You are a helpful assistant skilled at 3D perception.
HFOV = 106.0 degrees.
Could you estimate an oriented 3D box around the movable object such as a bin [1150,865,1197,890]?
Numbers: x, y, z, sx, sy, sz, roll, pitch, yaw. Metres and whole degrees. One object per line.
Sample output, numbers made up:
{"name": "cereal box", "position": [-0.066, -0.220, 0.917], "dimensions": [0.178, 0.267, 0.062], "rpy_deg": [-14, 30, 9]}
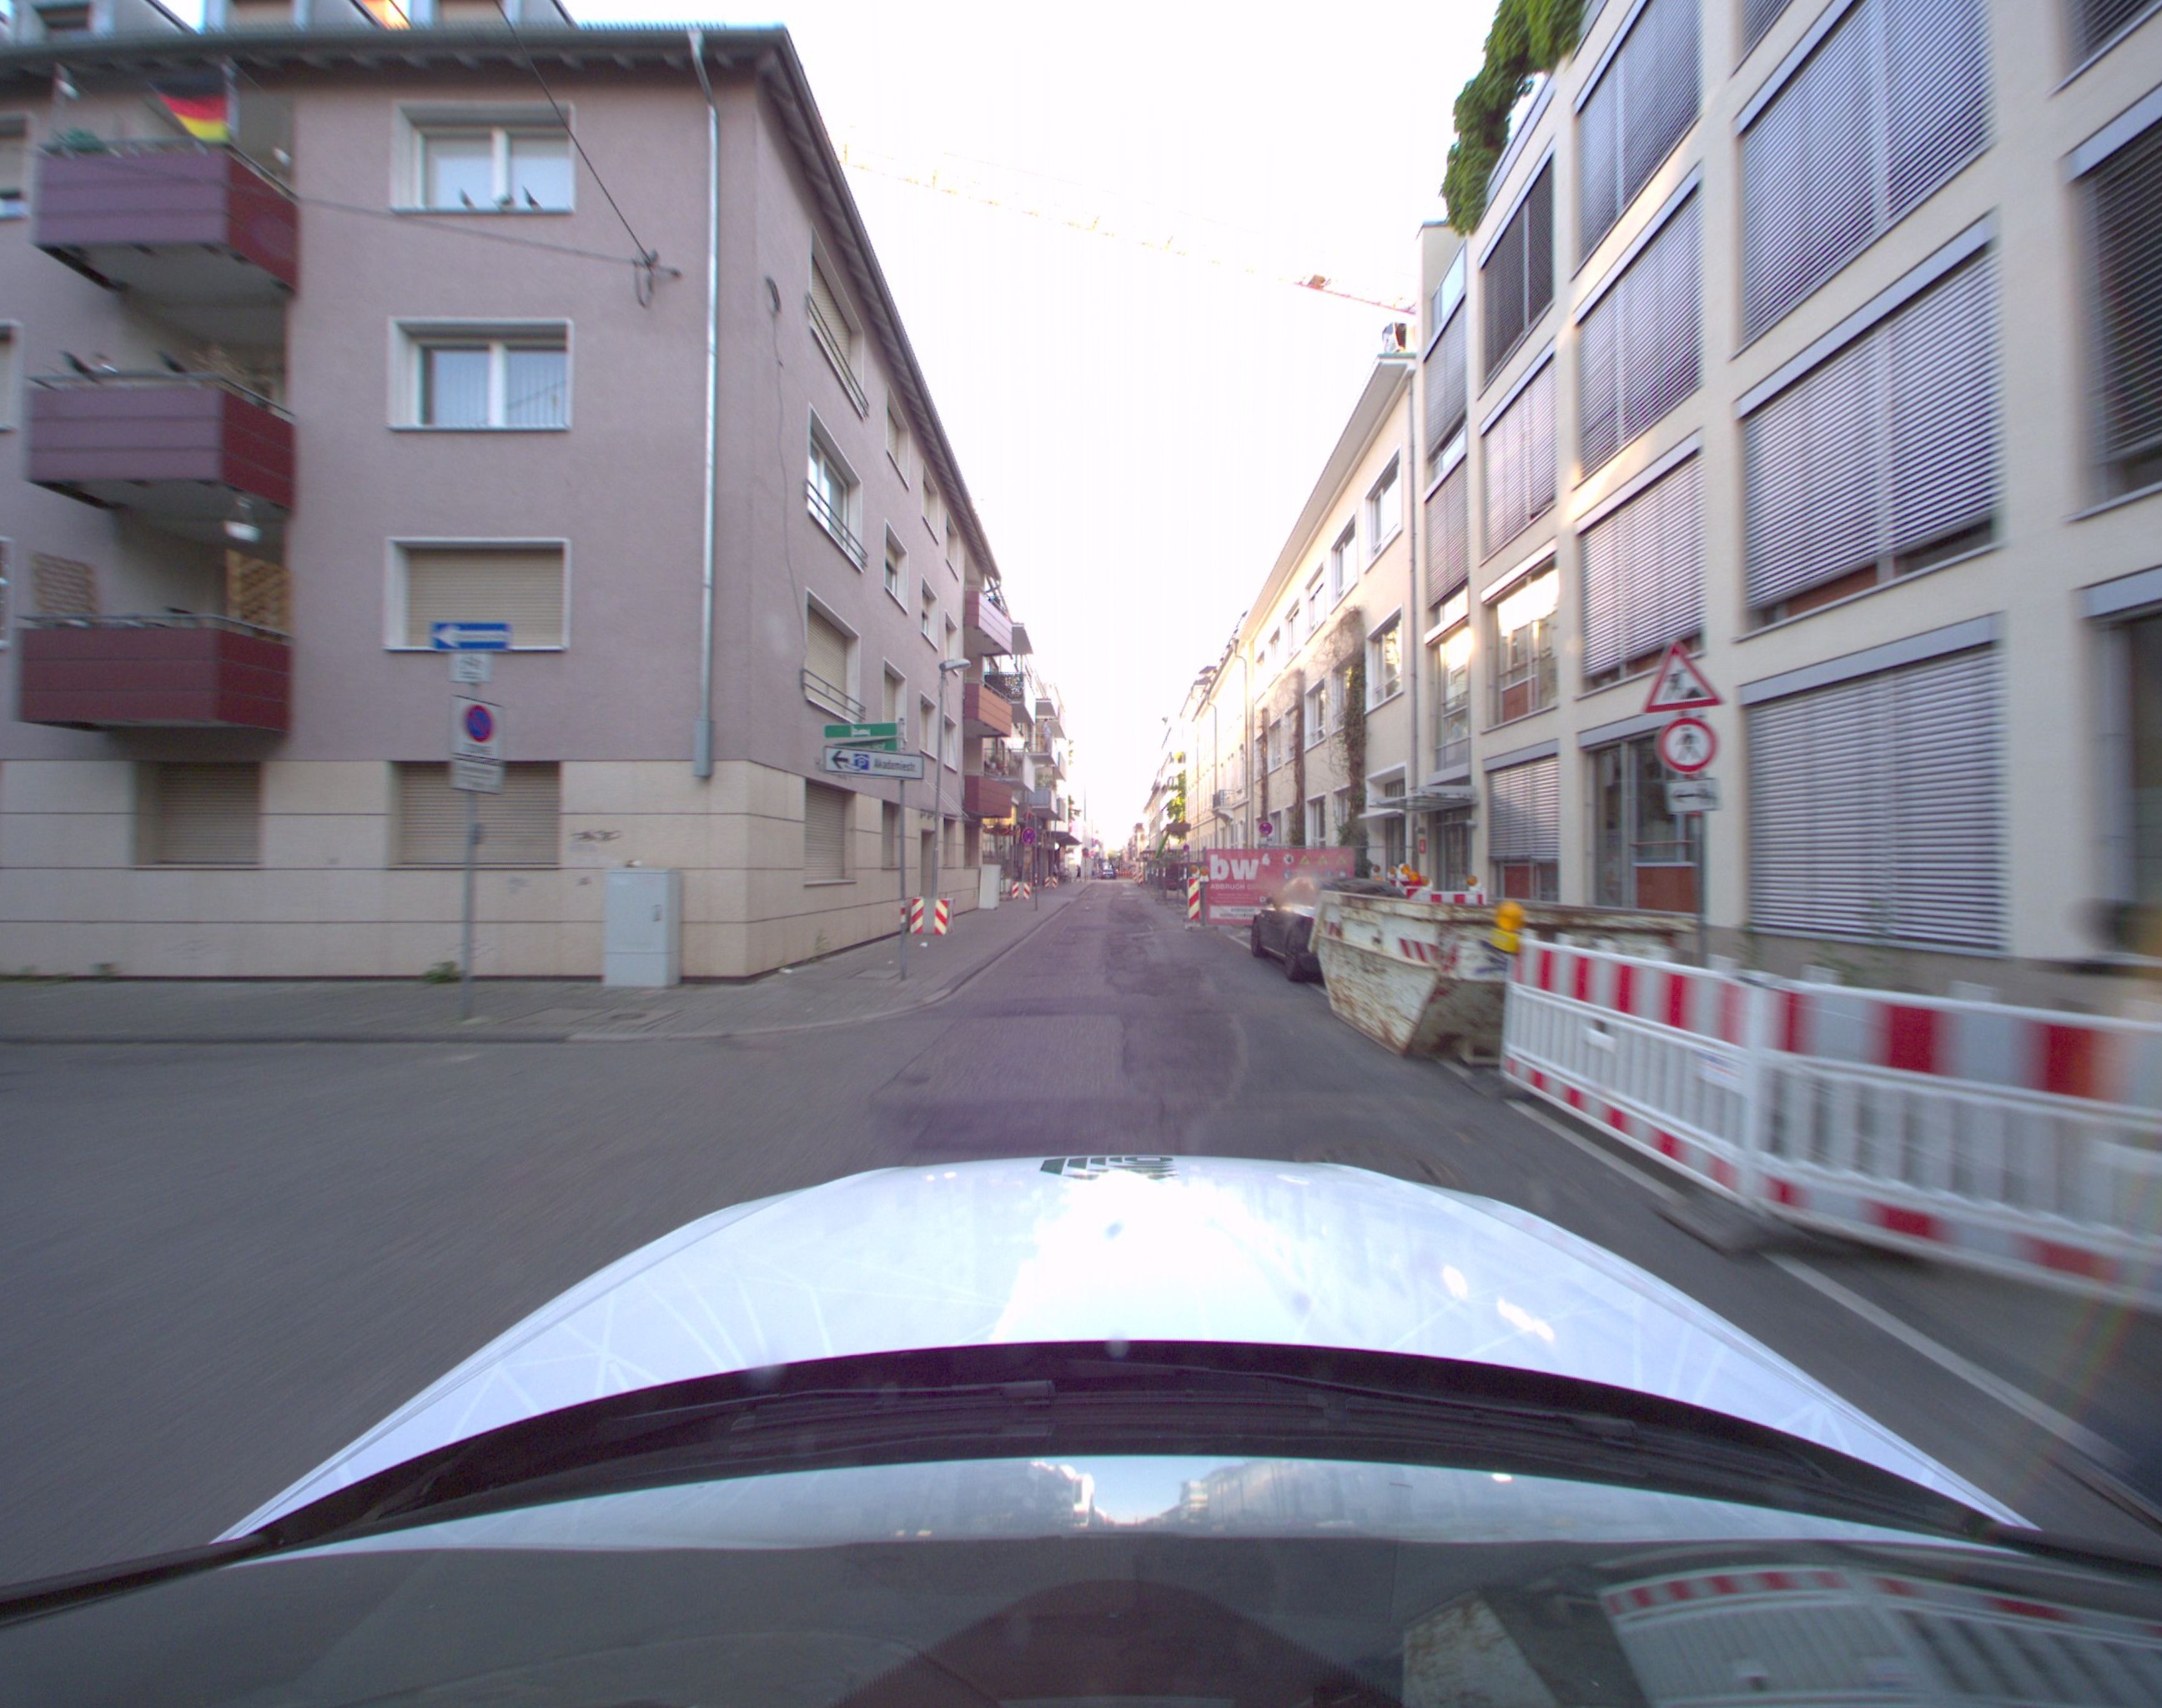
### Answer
{"name": "movable object such as a bin", "position": [6.620, 1.669, 59.230], "dimensions": [2.726, 1.638, 7.553], "rpy_deg": [1, -1, 1]}

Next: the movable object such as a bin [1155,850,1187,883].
{"name": "movable object such as a bin", "position": [8.114, 1.160, 73.676], "dimensions": [2.594, 2.839, 4.452], "rpy_deg": [-1, -1, 2]}

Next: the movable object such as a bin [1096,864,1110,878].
{"name": "movable object such as a bin", "position": [3.304, 2.499, 122.646], "dimensions": [1.985, 2.014, 4.002], "rpy_deg": [-1, -1, 3]}

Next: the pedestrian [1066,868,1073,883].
{"name": "pedestrian", "position": [-1.022, 1.905, 72.650], "dimensions": [0.571, 1.275, 0.714], "rpy_deg": [2, -1, 2]}

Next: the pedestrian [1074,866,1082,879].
{"name": "pedestrian", "position": [-0.285, 1.792, 78.054], "dimensions": [0.708, 1.275, 0.705], "rpy_deg": [0, -1, 2]}

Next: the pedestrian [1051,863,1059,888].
{"name": "pedestrian", "position": [-1.953, 1.595, 60.844], "dimensions": [0.529, 1.834, 0.562], "rpy_deg": [0, -1, -4]}

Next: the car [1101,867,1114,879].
{"name": "car", "position": [3.517, 2.530, 107.642], "dimensions": [1.624, 1.550, 3.140], "rpy_deg": [-1, -1, -1]}

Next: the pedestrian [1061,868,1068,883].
{"name": "pedestrian", "position": [-1.431, 1.877, 71.563], "dimensions": [0.571, 1.275, 0.714], "rpy_deg": [2, -1, 2]}

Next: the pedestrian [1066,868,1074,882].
{"name": "pedestrian", "position": [-0.990, 1.875, 73.508], "dimensions": [0.699, 1.275, 0.714], "rpy_deg": [2, -1, 2]}

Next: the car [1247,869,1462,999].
{"name": "car", "position": [3.702, 0.989, 11.907], "dimensions": [1.780, 1.472, 4.448], "rpy_deg": [2, -1, 2]}

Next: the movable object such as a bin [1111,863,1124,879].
{"name": "movable object such as a bin", "position": [5.958, 2.760, 132.833], "dimensions": [2.148, 2.664, 4.574], "rpy_deg": [0, -1, 2]}
